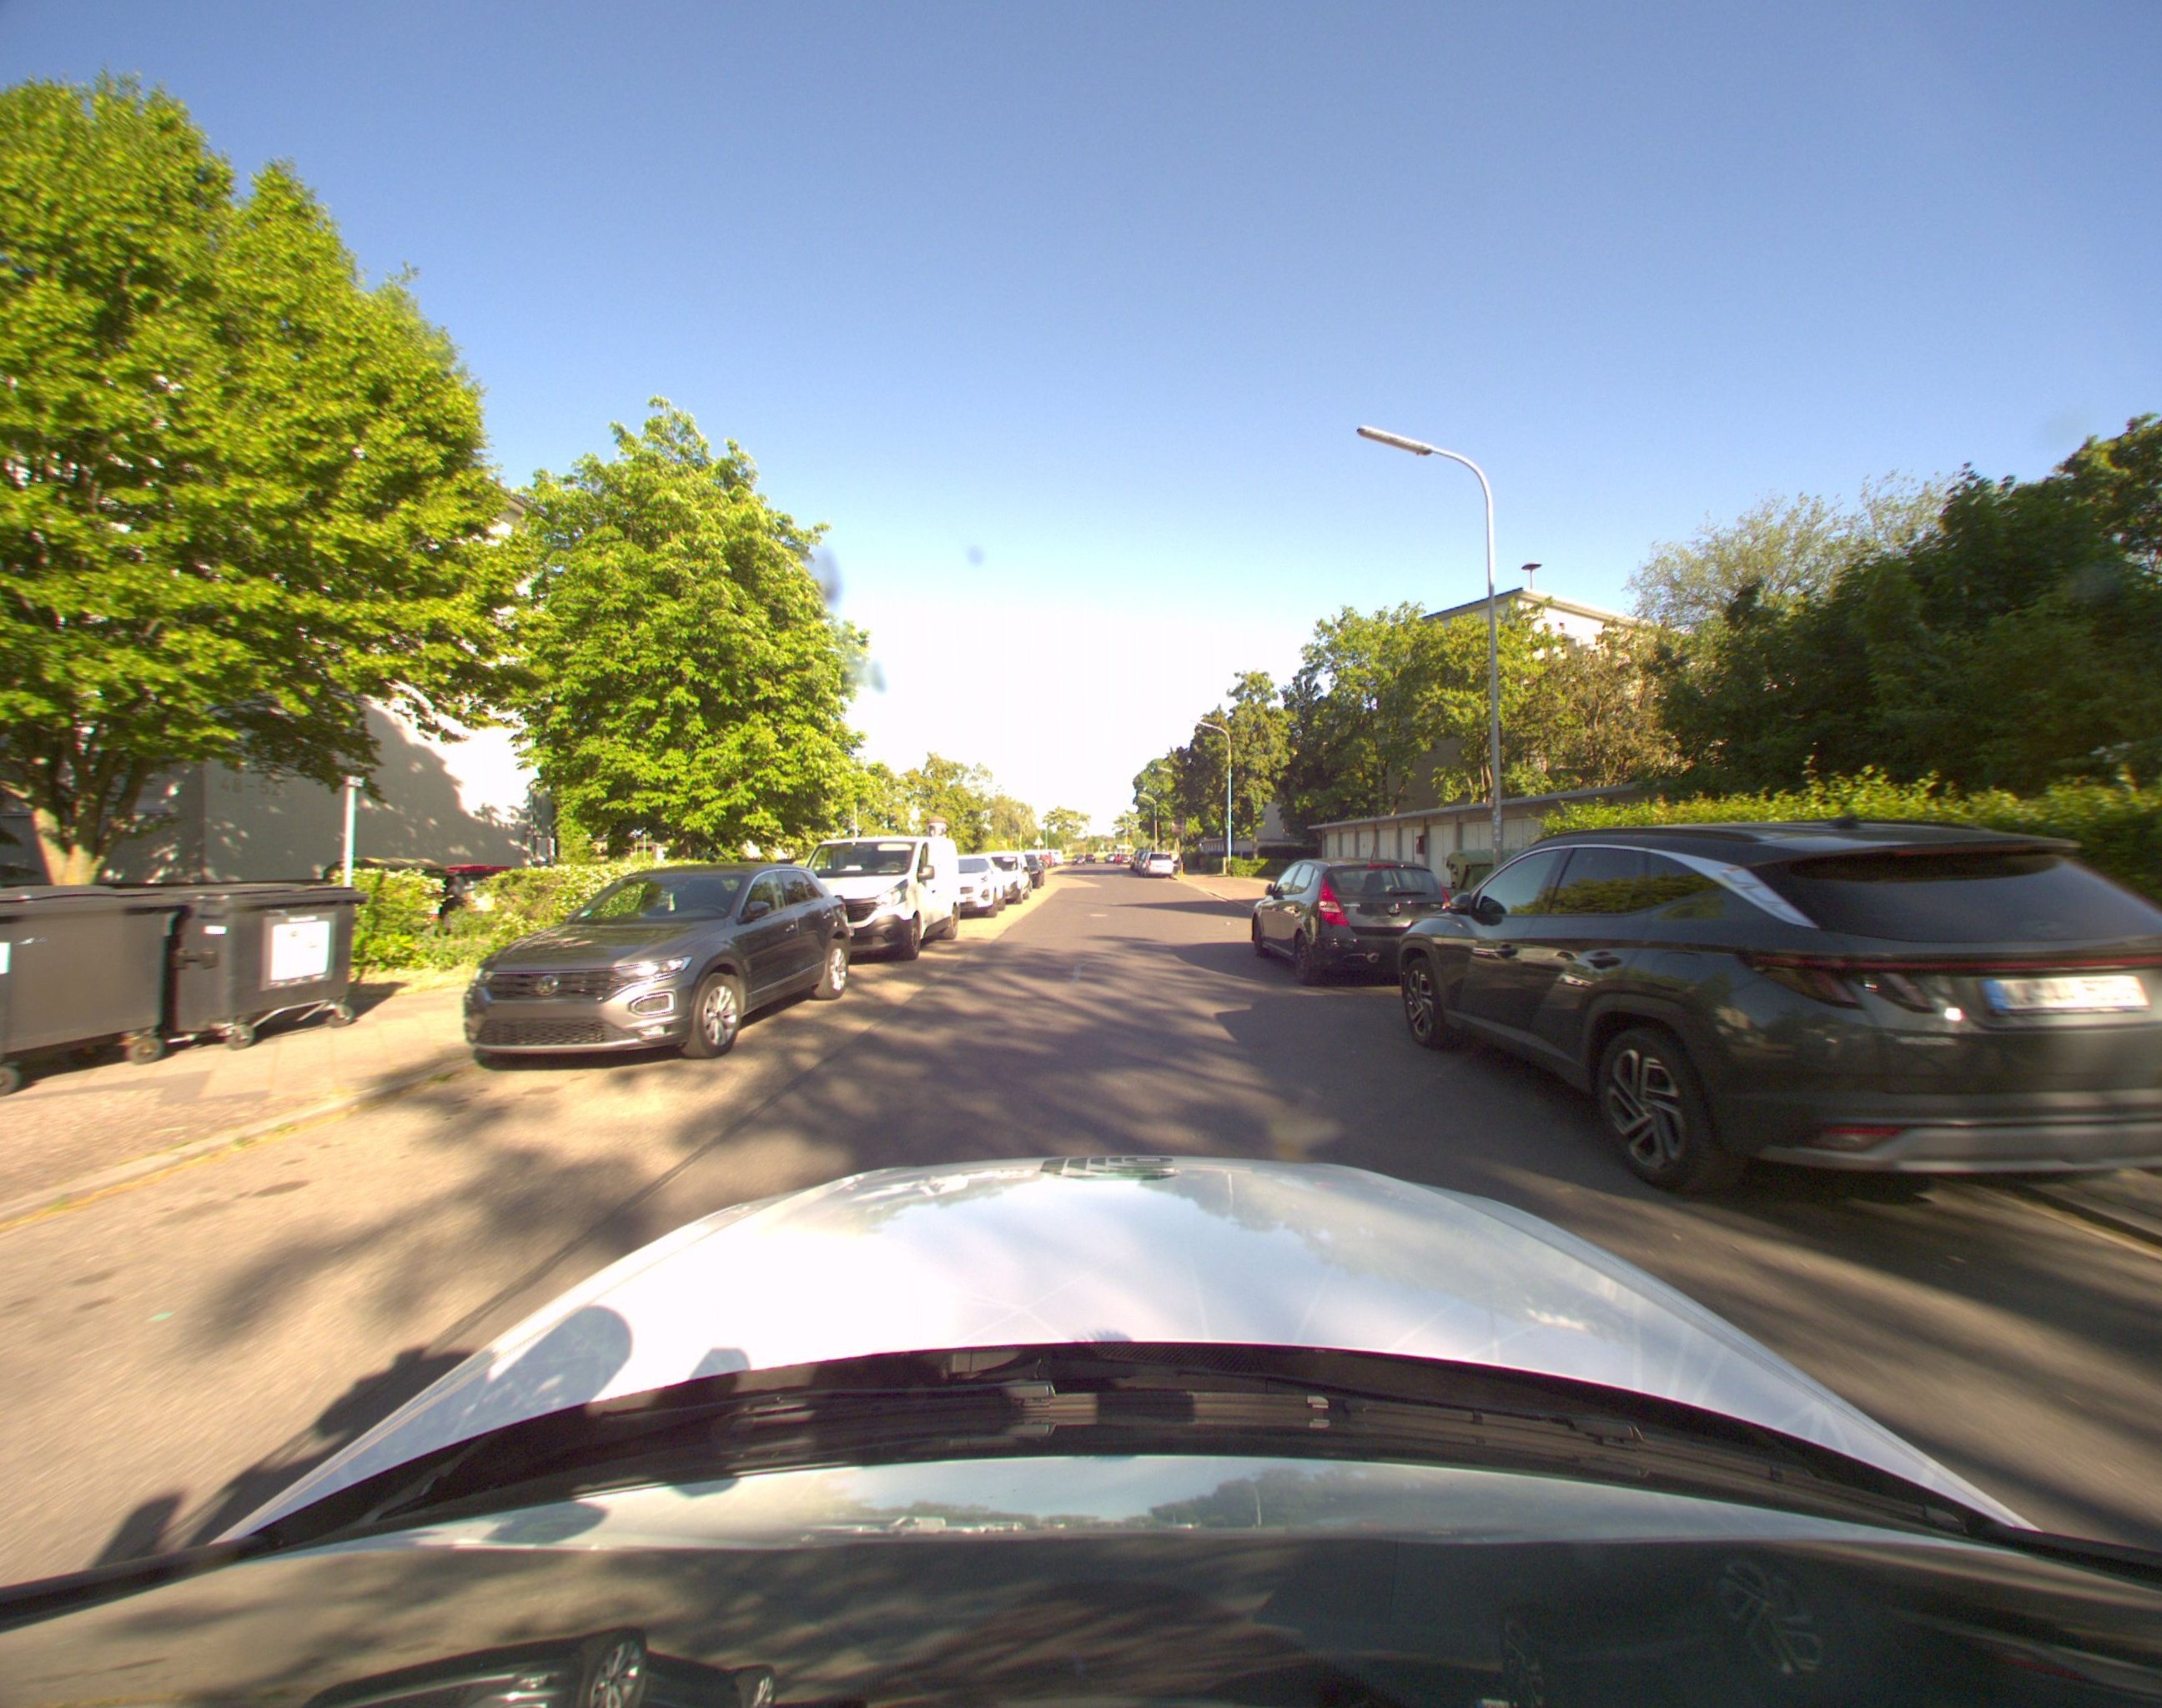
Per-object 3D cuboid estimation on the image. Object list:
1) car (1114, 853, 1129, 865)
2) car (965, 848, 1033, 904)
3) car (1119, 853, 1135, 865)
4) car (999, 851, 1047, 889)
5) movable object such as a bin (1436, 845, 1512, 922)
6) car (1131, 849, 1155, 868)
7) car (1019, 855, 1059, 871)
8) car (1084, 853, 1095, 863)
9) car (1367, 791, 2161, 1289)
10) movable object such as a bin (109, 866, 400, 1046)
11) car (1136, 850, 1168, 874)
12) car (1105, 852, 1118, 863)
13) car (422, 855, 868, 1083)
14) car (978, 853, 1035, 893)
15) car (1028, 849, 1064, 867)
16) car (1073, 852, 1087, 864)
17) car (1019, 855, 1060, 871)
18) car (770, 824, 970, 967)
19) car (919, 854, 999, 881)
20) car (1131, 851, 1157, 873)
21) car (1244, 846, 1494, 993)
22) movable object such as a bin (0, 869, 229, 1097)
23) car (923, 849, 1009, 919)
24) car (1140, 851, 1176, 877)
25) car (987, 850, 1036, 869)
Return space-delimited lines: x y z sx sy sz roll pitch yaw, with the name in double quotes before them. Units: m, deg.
"car" 5.650 0.633 113.575 1.790 1.643 3.950 0 0 -1
"car" -2.734 0.709 27.894 1.740 1.732 4.007 -2 0 2
"car" 5.997 0.622 106.154 1.790 1.548 3.950 0 0 -1
"car" -2.612 0.691 37.744 1.740 1.613 4.309 -2 0 2
"movable object such as a bin" 7.747 0.557 16.113 0.914 1.454 1.233 -1 0 1
"car" 5.400 0.384 71.451 1.790 1.643 3.950 0 0 -1
"car" -4.348 0.922 84.704 4.045 1.561 1.799 0 0 -4
"car" 1.341 0.617 132.426 1.674 1.513 4.103 1 0 -1
"car" 3.457 0.616 5.009 1.901 1.639 4.630 0 0 2
"movable object such as a bin" -7.129 0.820 7.141 1.097 1.356 1.361 2 0 2
"car" 4.874 0.527 56.245 1.790 1.561 3.950 0 0 -1
"car" 4.618 0.578 123.661 1.790 1.643 3.950 1 0 -1
"car" -3.576 0.807 7.711 1.738 1.533 4.143 -2 0 4
"car" -2.936 0.721 32.824 1.740 1.478 4.154 -2 0 2
"car" -3.984 0.427 93.131 4.045 1.992 1.799 0 0 -4
"car" -0.092 0.565 107.681 1.790 1.561 3.950 0 0 -1
"car" -4.097 0.905 80.650 4.045 1.561 1.799 0 0 -4
"car" -3.325 0.582 14.030 1.907 1.962 5.090 -2 0 2
"car" -7.335 0.815 49.040 4.357 1.436 1.850 -2 0 12
"car" 5.106 0.625 66.870 1.790 1.786 3.950 0 0 -1
"car" 3.464 0.690 10.747 1.901 1.531 4.329 0 0 2
"movable object such as a bin" -7.332 0.826 5.767 1.097 1.371 1.361 2 0 2
"car" -3.029 0.745 22.198 1.741 1.669 4.376 -2 0 -1
"car" 4.777 0.590 51.000 1.790 1.561 3.950 0 0 -1
"car" -5.893 0.473 69.210 4.045 1.561 1.799 0 0 -4
